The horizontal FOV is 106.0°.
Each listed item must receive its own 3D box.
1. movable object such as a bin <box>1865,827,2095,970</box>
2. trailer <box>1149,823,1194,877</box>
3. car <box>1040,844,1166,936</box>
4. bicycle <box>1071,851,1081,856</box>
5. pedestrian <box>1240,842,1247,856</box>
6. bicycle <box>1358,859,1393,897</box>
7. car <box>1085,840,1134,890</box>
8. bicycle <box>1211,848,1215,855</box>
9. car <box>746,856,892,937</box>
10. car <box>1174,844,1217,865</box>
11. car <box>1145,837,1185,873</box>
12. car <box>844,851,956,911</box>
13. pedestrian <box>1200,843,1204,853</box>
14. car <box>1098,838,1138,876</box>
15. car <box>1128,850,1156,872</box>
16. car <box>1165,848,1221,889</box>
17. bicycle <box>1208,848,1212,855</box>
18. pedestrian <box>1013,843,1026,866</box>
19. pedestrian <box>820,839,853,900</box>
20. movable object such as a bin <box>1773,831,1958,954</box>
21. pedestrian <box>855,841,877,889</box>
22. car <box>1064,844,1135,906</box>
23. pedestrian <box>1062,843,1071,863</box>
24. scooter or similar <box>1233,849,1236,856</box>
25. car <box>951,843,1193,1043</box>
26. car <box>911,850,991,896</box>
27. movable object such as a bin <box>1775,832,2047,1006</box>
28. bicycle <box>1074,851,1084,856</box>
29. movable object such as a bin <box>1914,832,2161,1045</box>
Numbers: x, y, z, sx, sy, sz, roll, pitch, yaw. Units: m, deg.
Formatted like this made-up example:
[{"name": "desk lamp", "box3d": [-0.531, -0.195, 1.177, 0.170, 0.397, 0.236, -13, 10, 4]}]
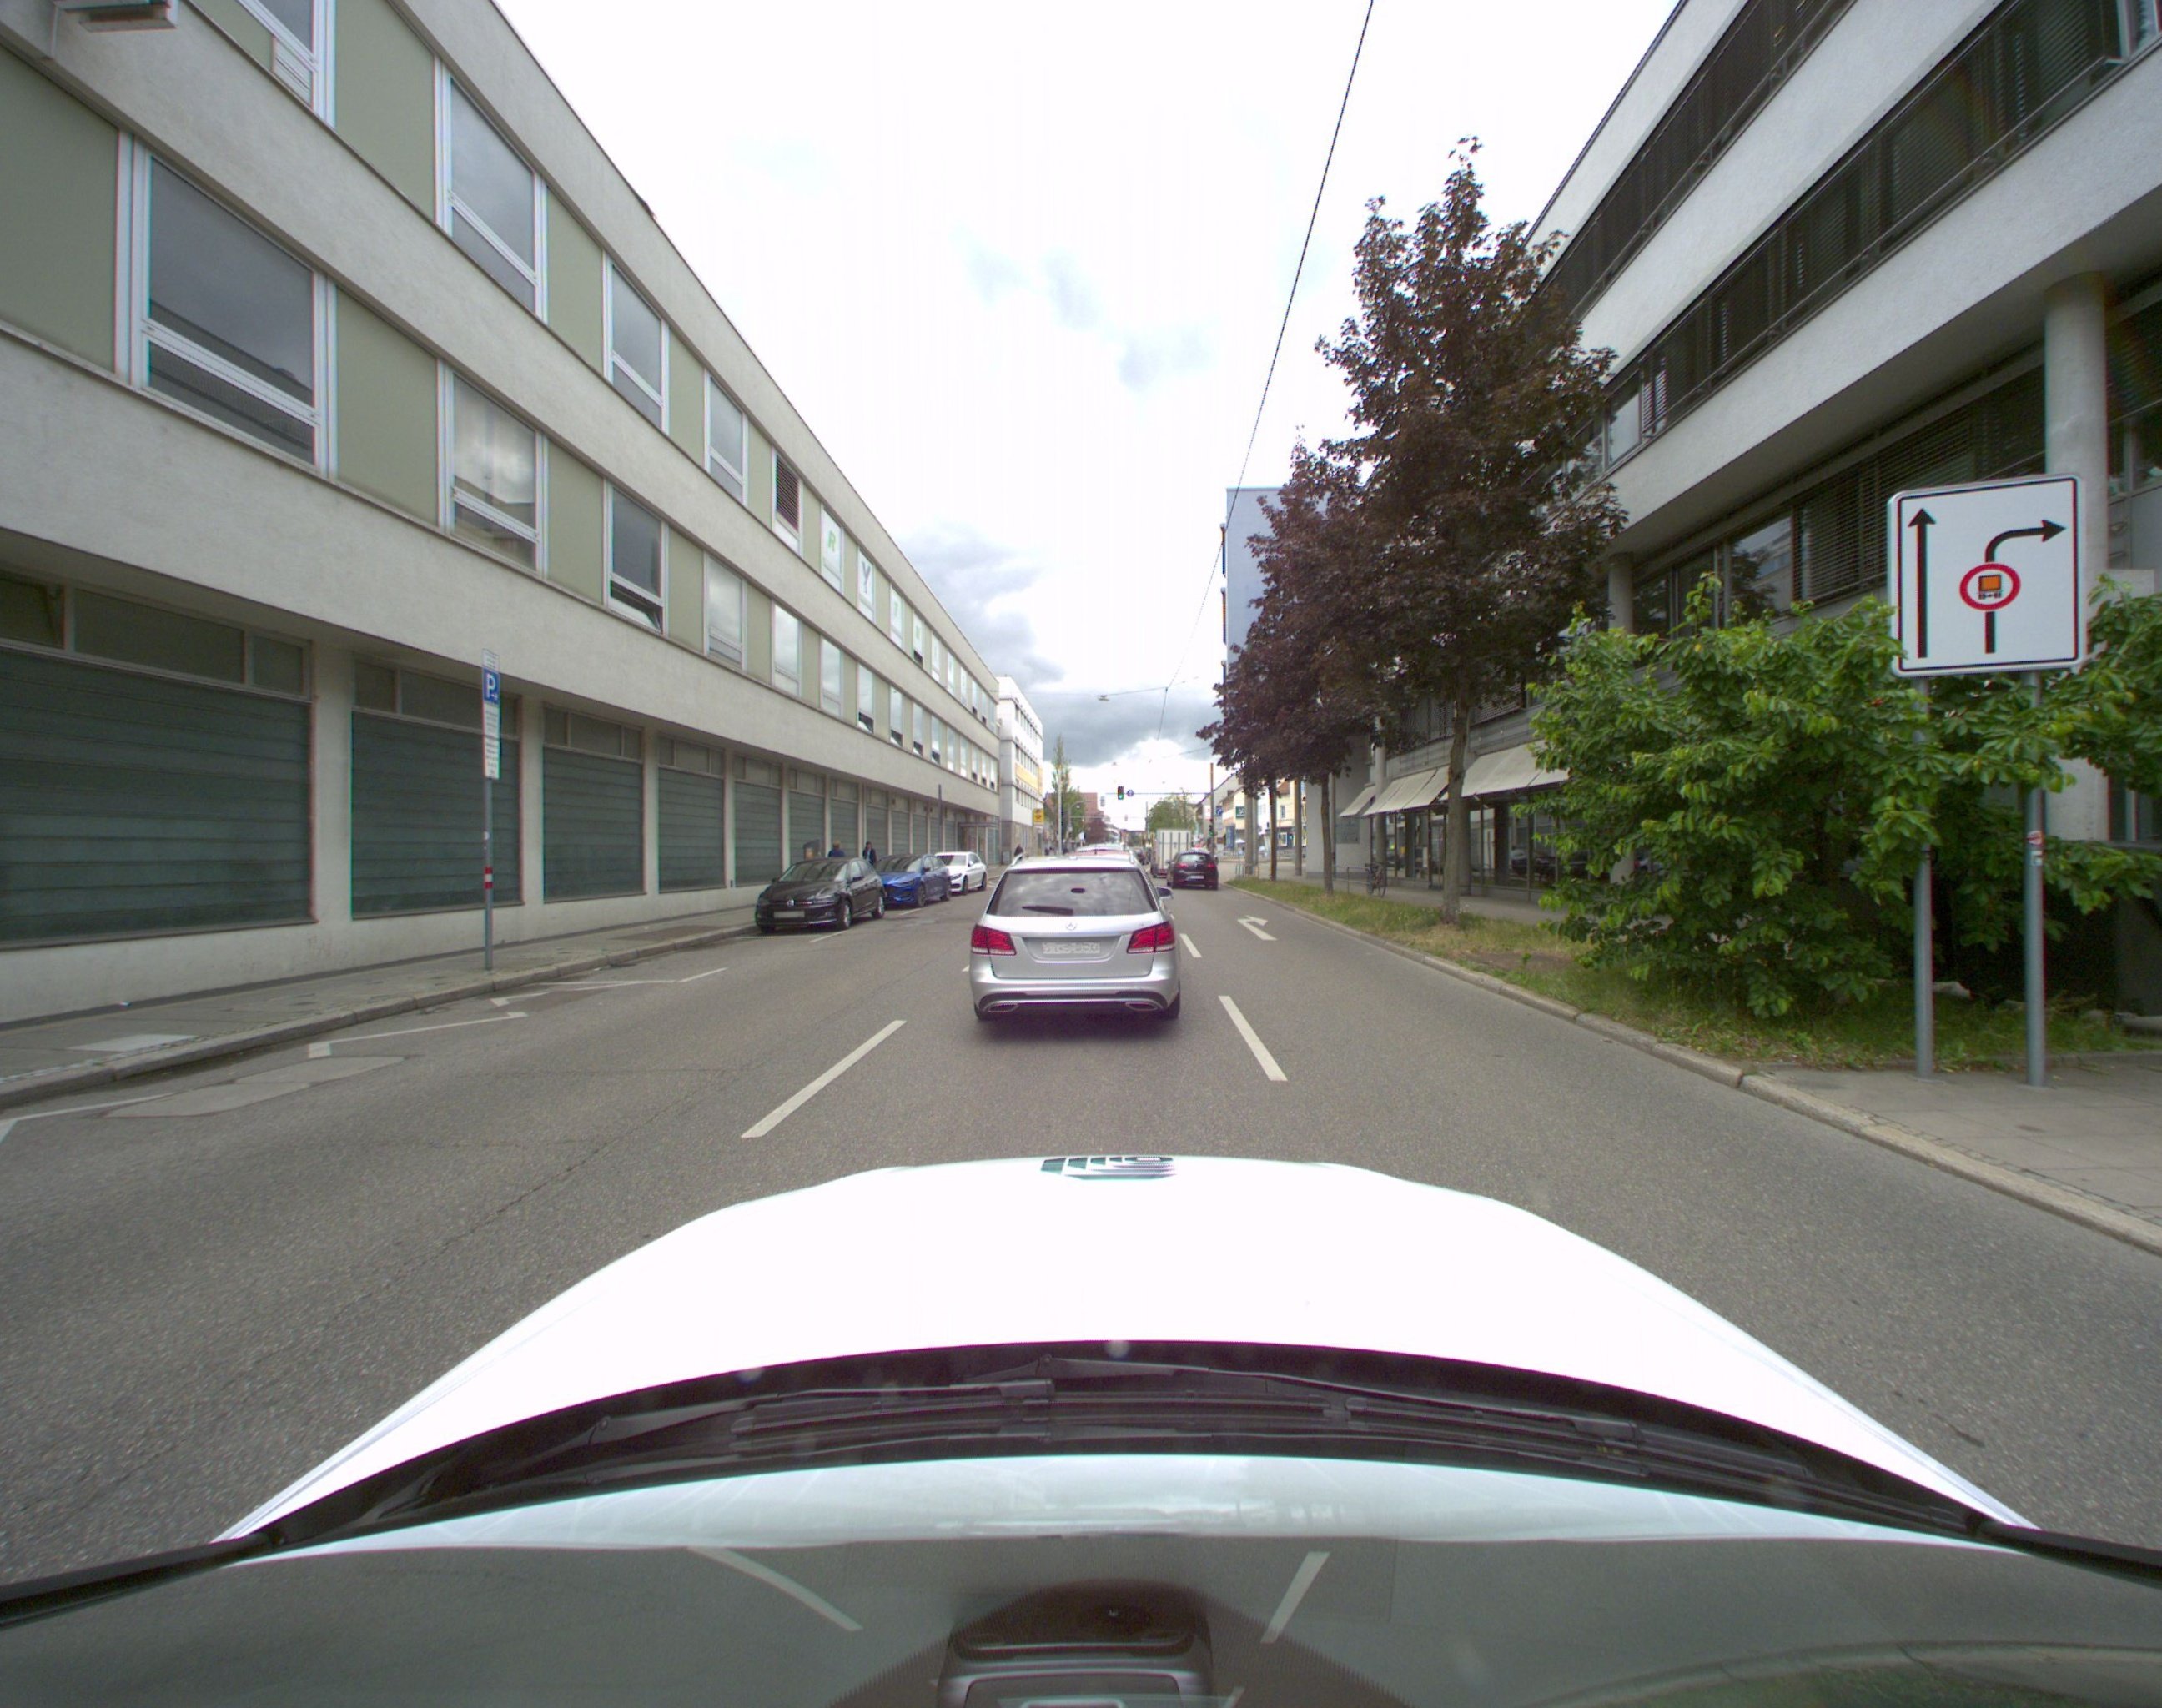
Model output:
[{"name": "movable object such as a bin", "box3d": [10.097, 0.467, 9.234, 1.118, 1.465, 1.333, -2, 0, 1]}, {"name": "trailer", "box3d": [4.626, -0.208, 42.056, 1.871, 2.613, 4.324, 2, 0, 1]}, {"name": "car", "box3d": [0.561, 0.576, 15.445, 1.723, 1.508, 4.012, 0, 0, 11]}, {"name": "bicycle", "box3d": [-0.931, -0.110, 150.212, 1.935, 1.029, 0.529, 1, 0, -7]}, {"name": "pedestrian", "box3d": [20.720, -0.621, 103.975, 0.641, 1.718, 0.709, -1, 0, 33]}, {"name": "bicycle", "box3d": [8.875, 0.697, 24.598, 0.359, 1.086, 2.028, 1, 0, 1]}, {"name": "car", "box3d": [1.076, 0.373, 31.069, 1.728, 1.759, 4.001, -1, 0, 1]}, {"name": "bicycle", "box3d": [20.700, -0.409, 127.702, 0.446, 1.107, 2.152, -1, 0, 4]}, {"name": "car", "box3d": [-5.398, 0.797, 17.297, 1.710, 1.425, 3.871, -2, 0, 1]}, {"name": "car", "box3d": [9.159, 0.058, 64.804, 1.718, 1.605, 4.588, 2, 1, 30]}, {"name": "car", "box3d": [4.737, 0.032, 46.664, 1.871, 1.945, 4.908, 2, 0, 1]}, {"name": "car", "box3d": [-4.946, 0.683, 22.932, 1.806, 1.425, 4.270, -2, 0, 5]}, {"name": "pedestrian", "box3d": [19.474, -0.977, 130.766, 0.576, 1.666, 0.651, 1, 0, 0]}, {"name": "car", "box3d": [1.799, 0.117, 40.219, 1.821, 1.785, 4.002, -1, 0, 2]}, {"name": "car", "box3d": [4.192, 0.469, 56.165, 1.728, 1.410, 4.001, -1, 1, 1]}, {"name": "car", "box3d": [4.256, 0.502, 31.463, 1.728, 1.410, 4.001, -1, 1, 1]}, {"name": "bicycle", "box3d": [20.253, -0.397, 127.725, 0.446, 1.091, 2.152, -1, 0, 4]}, {"name": "pedestrian", "box3d": [-4.571, 0.046, 60.663, 0.858, 1.718, 1.032, 1, 0, 1]}, {"name": "pedestrian", "box3d": [-7.045, 0.435, 23.526, 0.587, 1.718, 1.055, -1, 0, 1]}, {"name": "movable object such as a bin", "box3d": [10.130, 0.465, 10.595, 1.094, 1.465, 1.333, -2, 0, 1]}, {"name": "pedestrian", "box3d": [-7.823, 0.376, 29.622, 0.587, 1.718, 0.650, -1, 0, 1]}, {"name": "car", "box3d": [0.509, 0.510, 22.063, 1.728, 1.508, 4.001, -1, 0, 1]}, {"name": "pedestrian", "box3d": [-1.289, -0.073, 70.947, 0.643, 1.718, 0.785, 1, 0, 10]}, {"name": "scooter or similar", "box3d": [22.674, -0.234, 120.365, 0.270, 1.001, 1.029, -1, 0, 0]}, {"name": "car", "box3d": [-0.017, 0.667, 8.337, 1.839, 1.508, 4.172, -1, 0, 1]}, {"name": "car", "box3d": [-4.492, 0.613, 28.754, 1.662, 1.433, 4.559, -2, 0, 5]}, {"name": "movable object such as a bin", "box3d": [7.770, 0.561, 7.738, 1.123, 1.465, 1.413, -2, 0, 1]}, {"name": "bicycle", "box3d": [-0.388, -0.127, 154.178, 1.935, 1.029, 0.529, 1, 0, -7]}, {"name": "movable object such as a bin", "box3d": [7.754, 0.580, 6.366, 1.094, 1.465, 1.333, -2, 0, 1]}]
